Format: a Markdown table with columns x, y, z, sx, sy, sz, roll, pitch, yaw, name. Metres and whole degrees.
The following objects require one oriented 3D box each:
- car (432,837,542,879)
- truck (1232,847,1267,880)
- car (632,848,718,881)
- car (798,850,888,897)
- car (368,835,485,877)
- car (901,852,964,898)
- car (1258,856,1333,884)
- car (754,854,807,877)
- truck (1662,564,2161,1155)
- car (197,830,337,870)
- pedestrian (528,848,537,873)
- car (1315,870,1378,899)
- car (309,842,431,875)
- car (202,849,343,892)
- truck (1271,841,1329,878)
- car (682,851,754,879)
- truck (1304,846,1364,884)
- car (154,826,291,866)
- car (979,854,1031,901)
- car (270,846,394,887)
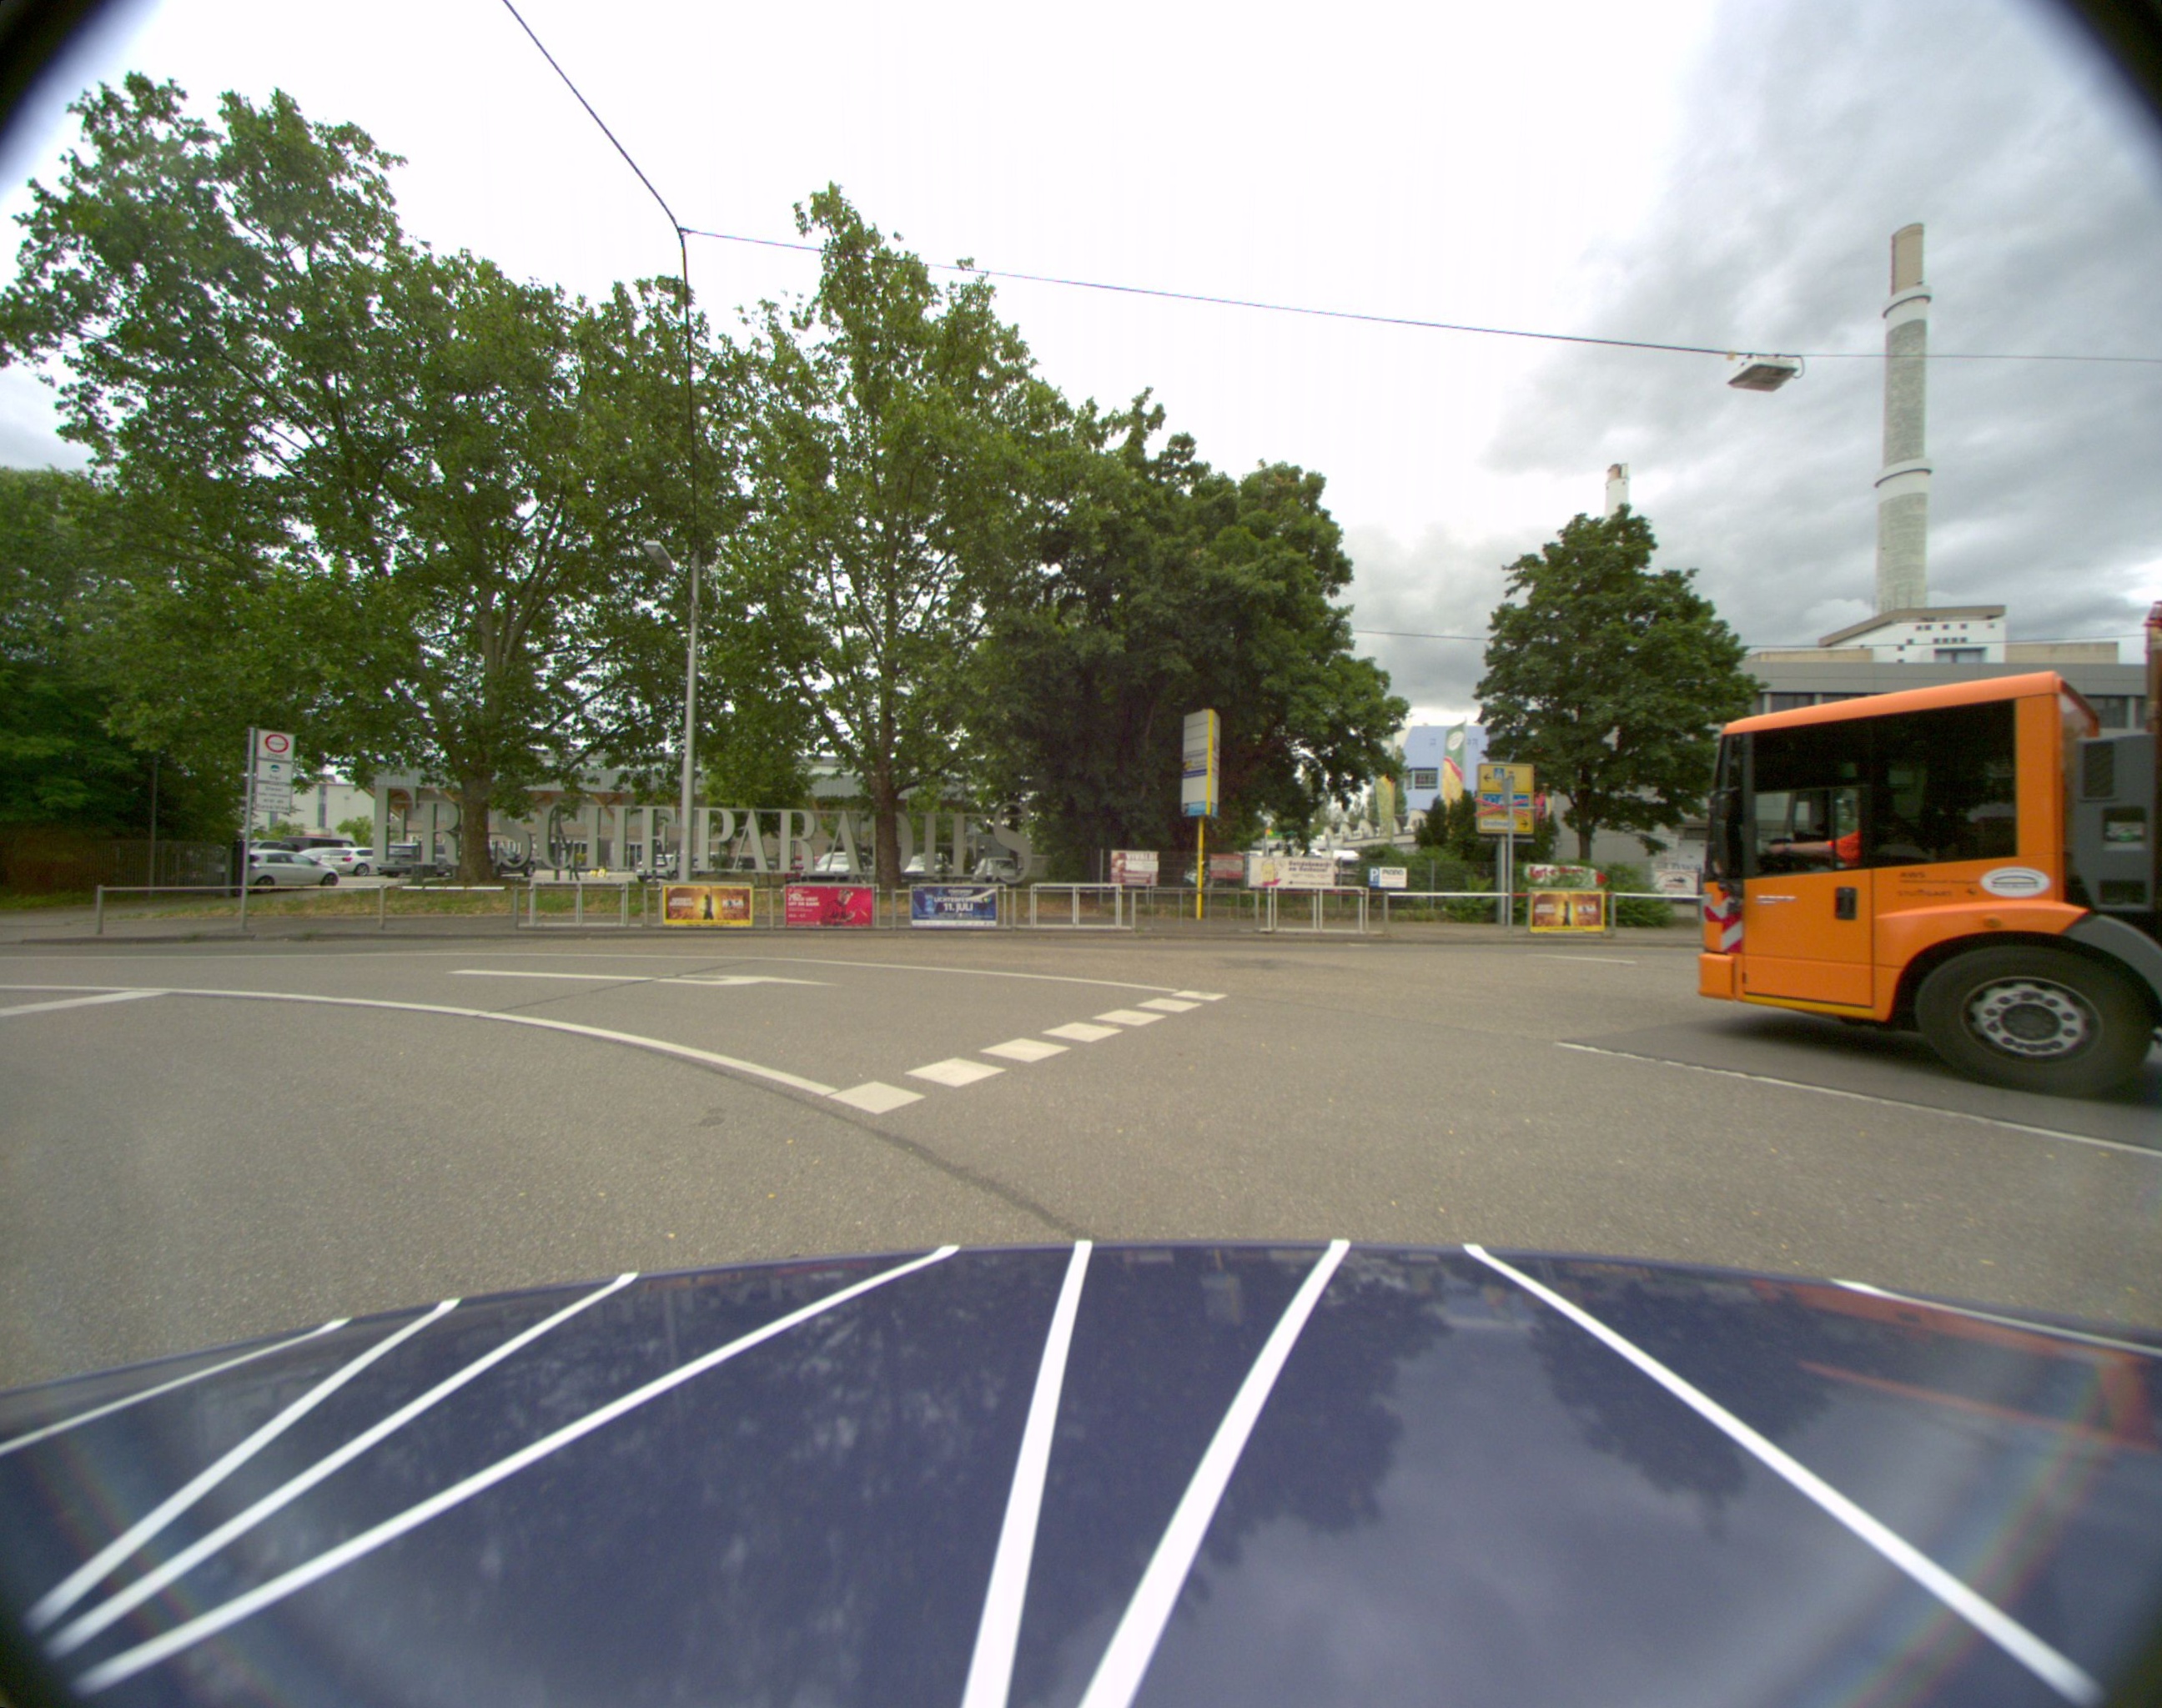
| x | y | z | sx | sy | sz | roll | pitch | yaw | name |
| --- | --- | --- | --- | --- | --- | --- | --- | --- | --- |
| -30.369 | 0.223 | 39.078 | 1.999 | 2.001 | 4.641 | 1 | -1 | -1 | car |
| 22.074 | 1.259 | 100.029 | 2.996 | 4.141 | 9.192 | 1 | -1 | 4 | truck |
| -21.097 | 0.561 | 39.715 | 1.999 | 1.552 | 4.641 | 1 | -1 | -1 | car |
| -8.908 | 0.762 | 28.847 | 1.883 | 1.603 | 4.527 | 1 | -2 | 1 | car |
| -33.623 | 0.140 | 39.257 | 1.999 | 2.001 | 4.641 | 1 | -1 | -1 | car |
| -5.517 | 0.791 | 28.693 | 1.591 | 1.603 | 4.318 | 1 | -2 | -1 | car |
| 22.375 | 1.697 | 79.472 | 7.146 | 2.716 | 2.245 | 2 | -1 | 4 | car |
| -21.834 | 0.841 | 55.440 | 1.999 | 1.552 | 4.641 | 1 | -1 | -1 | car |
| 9.022 | -0.008 | 2.955 | 2.803 | 3.505 | 10.397 | 0 | -1 | -32 | truck |
| -43.479 | -0.162 | 40.793 | 1.999 | 1.986 | 5.103 | 1 | -1 | -1 | car |
| -39.250 | 0.478 | 54.387 | 0.342 | 1.754 | 0.437 | 2 | -2 | -23 | pedestrian |
| 12.348 | 1.404 | 35.568 | 1.708 | 1.241 | 3.702 | 2 | -1 | 1 | car |
| -36.902 | 0.274 | 39.657 | 1.999 | 1.549 | 4.641 | 1 | -1 | -1 | car |
| -30.516 | 0.604 | 28.846 | 1.481 | 1.495 | 3.729 | 1 | -1 | -4 | car |
| 25.952 | 0.747 | 91.087 | 2.849 | 3.909 | 15.734 | 2 | -1 | 2 | truck |
| -21.187 | 0.664 | 44.617 | 1.999 | 1.552 | 4.641 | 1 | -1 | -1 | car |
| 30.002 | 1.361 | 90.925 | 2.869 | 4.001 | 15.858 | 2 | -1 | 4 | truck |
| -46.720 | -0.357 | 41.553 | 1.999 | 2.001 | 4.824 | 1 | -1 | -1 | car |
| -2.812 | 0.883 | 28.746 | 1.591 | 1.603 | 4.001 | 1 | -2 | -1 | car |
| -39.687 | 0.658 | 40.469 | 1.999 | 2.001 | 4.641 | 1 | -1 | -1 | car |
